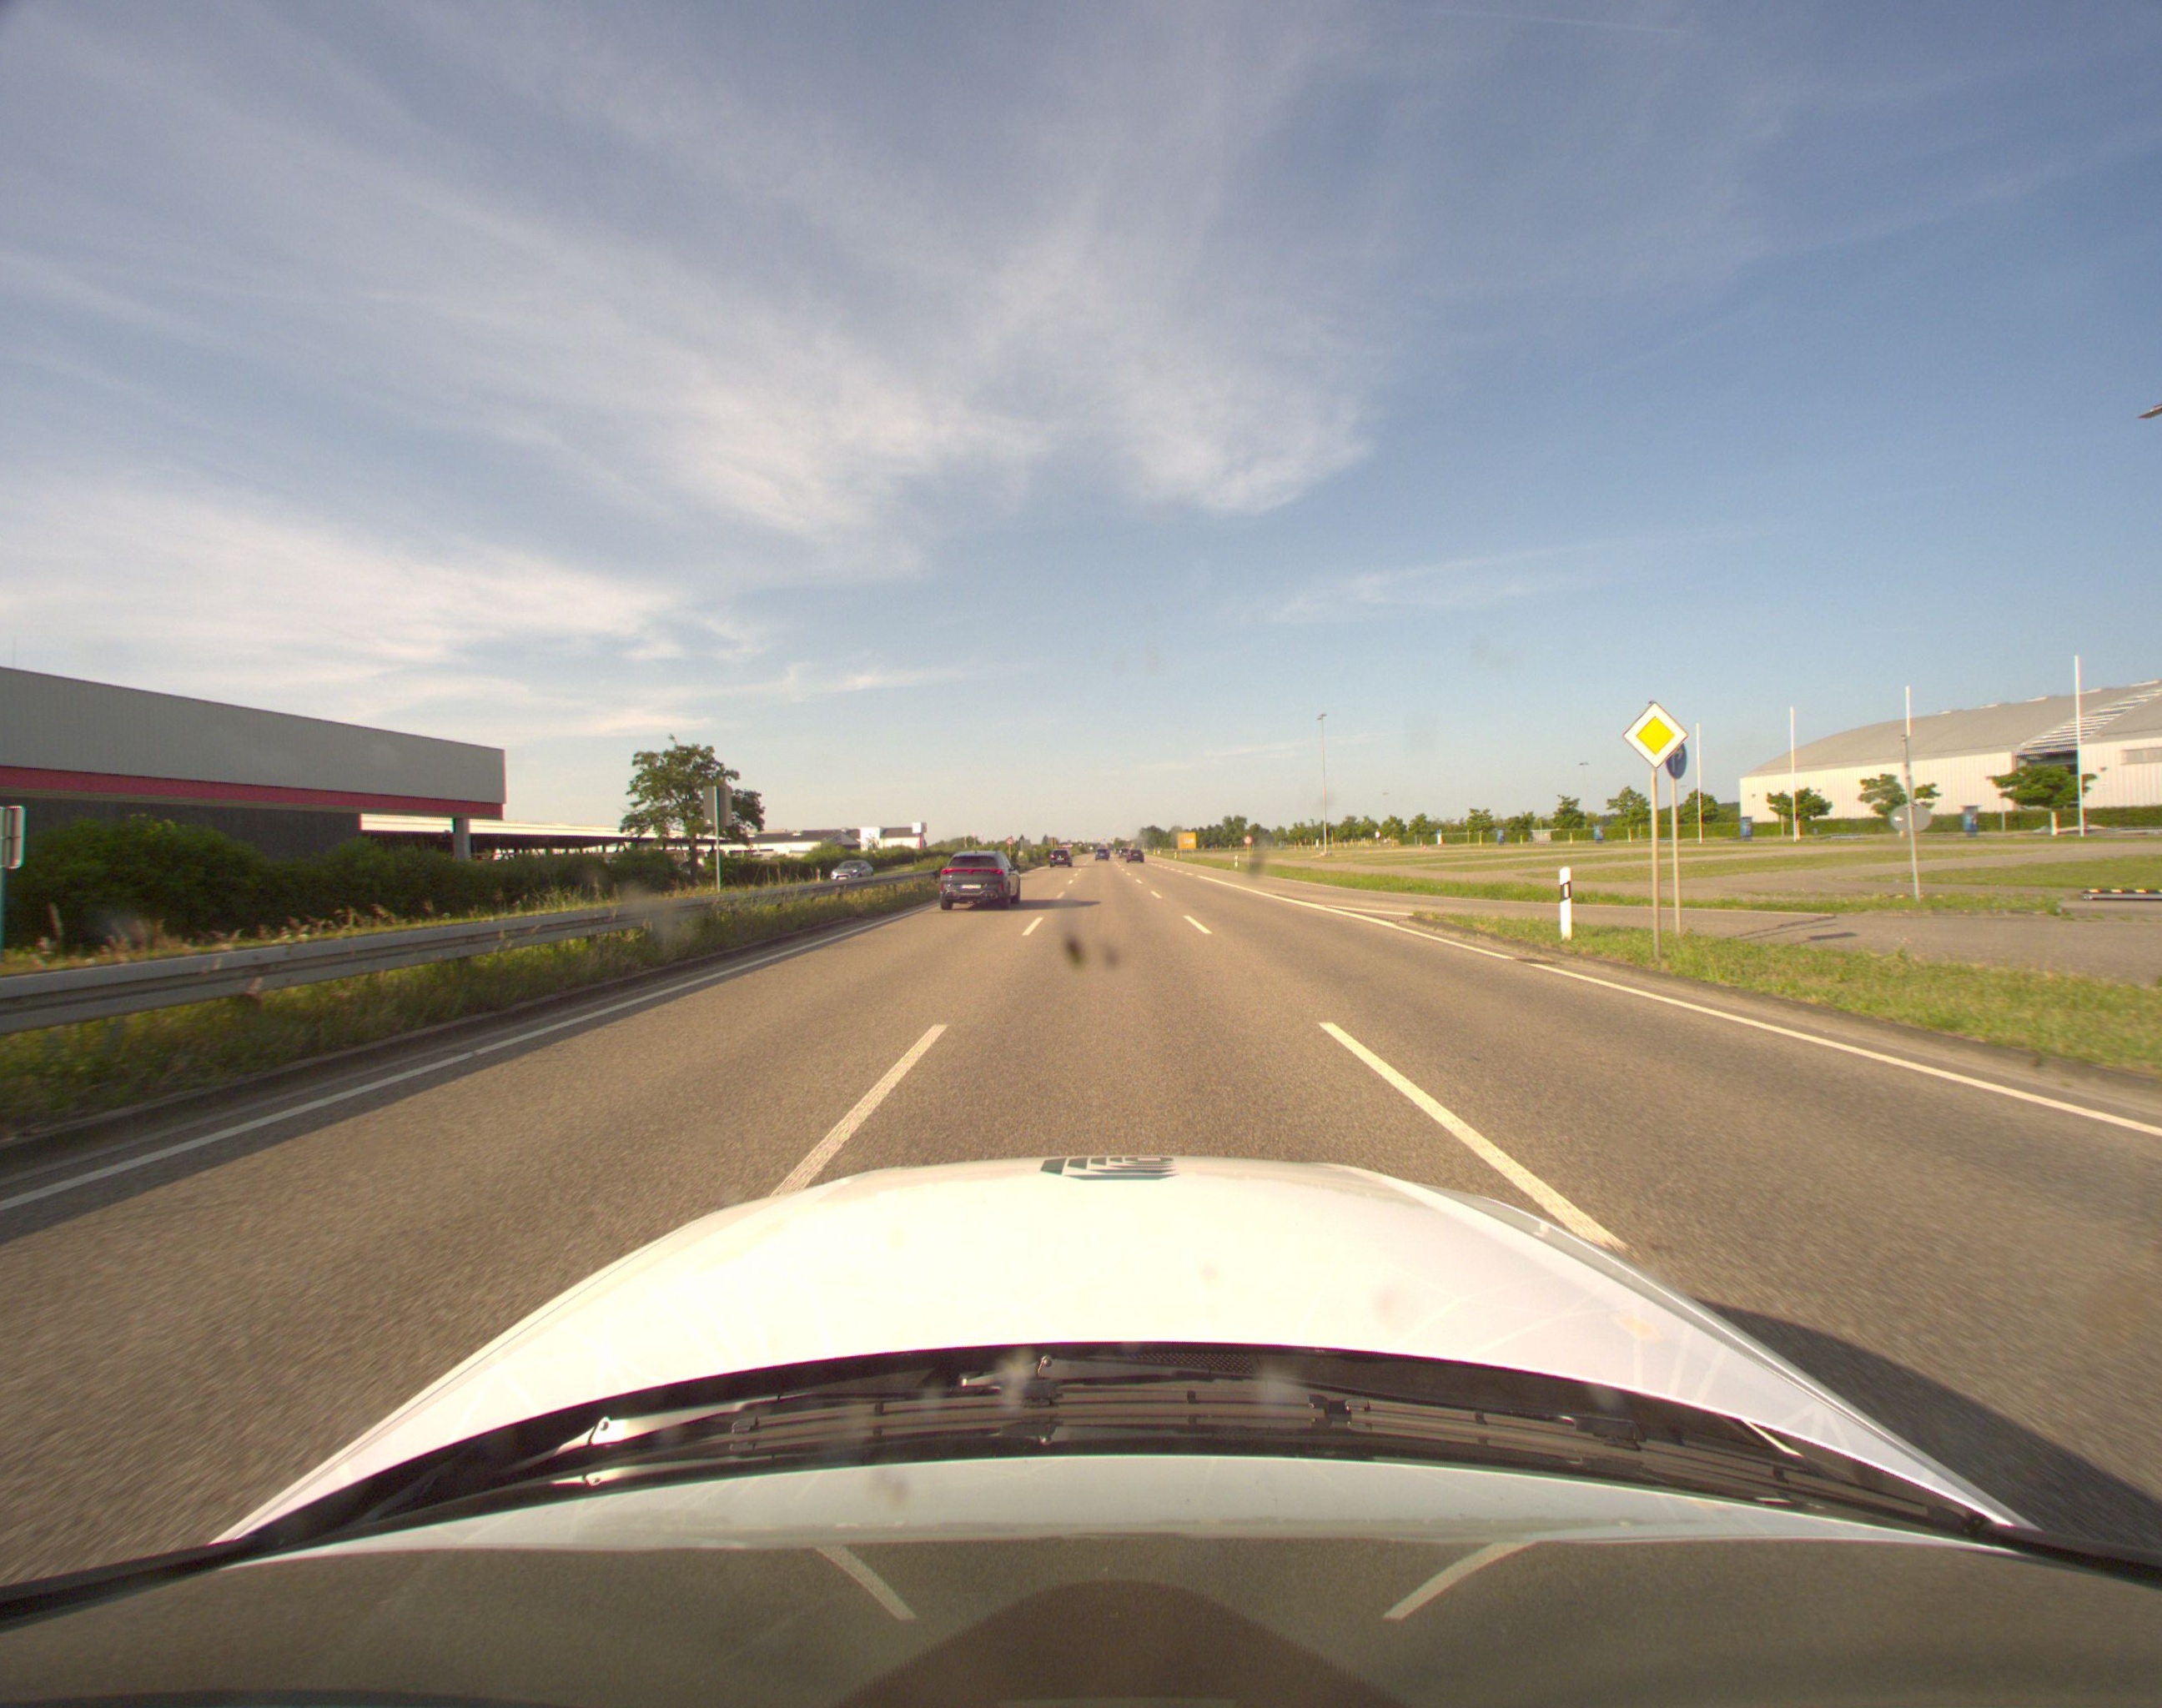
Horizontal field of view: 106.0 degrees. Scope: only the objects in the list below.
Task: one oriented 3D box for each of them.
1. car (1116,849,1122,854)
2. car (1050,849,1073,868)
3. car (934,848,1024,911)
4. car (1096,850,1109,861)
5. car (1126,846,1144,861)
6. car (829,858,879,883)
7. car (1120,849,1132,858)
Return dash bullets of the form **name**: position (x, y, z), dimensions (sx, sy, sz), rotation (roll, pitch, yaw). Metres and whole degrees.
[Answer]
- **car**: position (9.421, -0.570, 203.665), dimensions (1.497, 1.313, 3.157), rotation (1, 0, 2)
- **car**: position (-1.797, 0.394, 75.823), dimensions (1.925, 1.680, 4.403), rotation (1, 0, 2)
- **car**: position (-2.784, 0.643, 23.163), dimensions (1.839, 1.611, 4.403), rotation (1, 0, 2)
- **car**: position (2.950, 0.200, 110.606), dimensions (1.806, 1.463, 4.403), rotation (1, 0, 2)
- **car**: position (6.288, -0.108, 95.022), dimensions (1.925, 1.680, 4.403), rotation (1, 0, 2)
- **car**: position (-13.846, 0.982, 49.854), dimensions (1.772, 1.424, 4.002), rotation (-2, 0, 2)
- **car**: position (7.274, -0.048, 132.318), dimensions (1.866, 1.463, 3.982), rotation (1, 0, 2)
